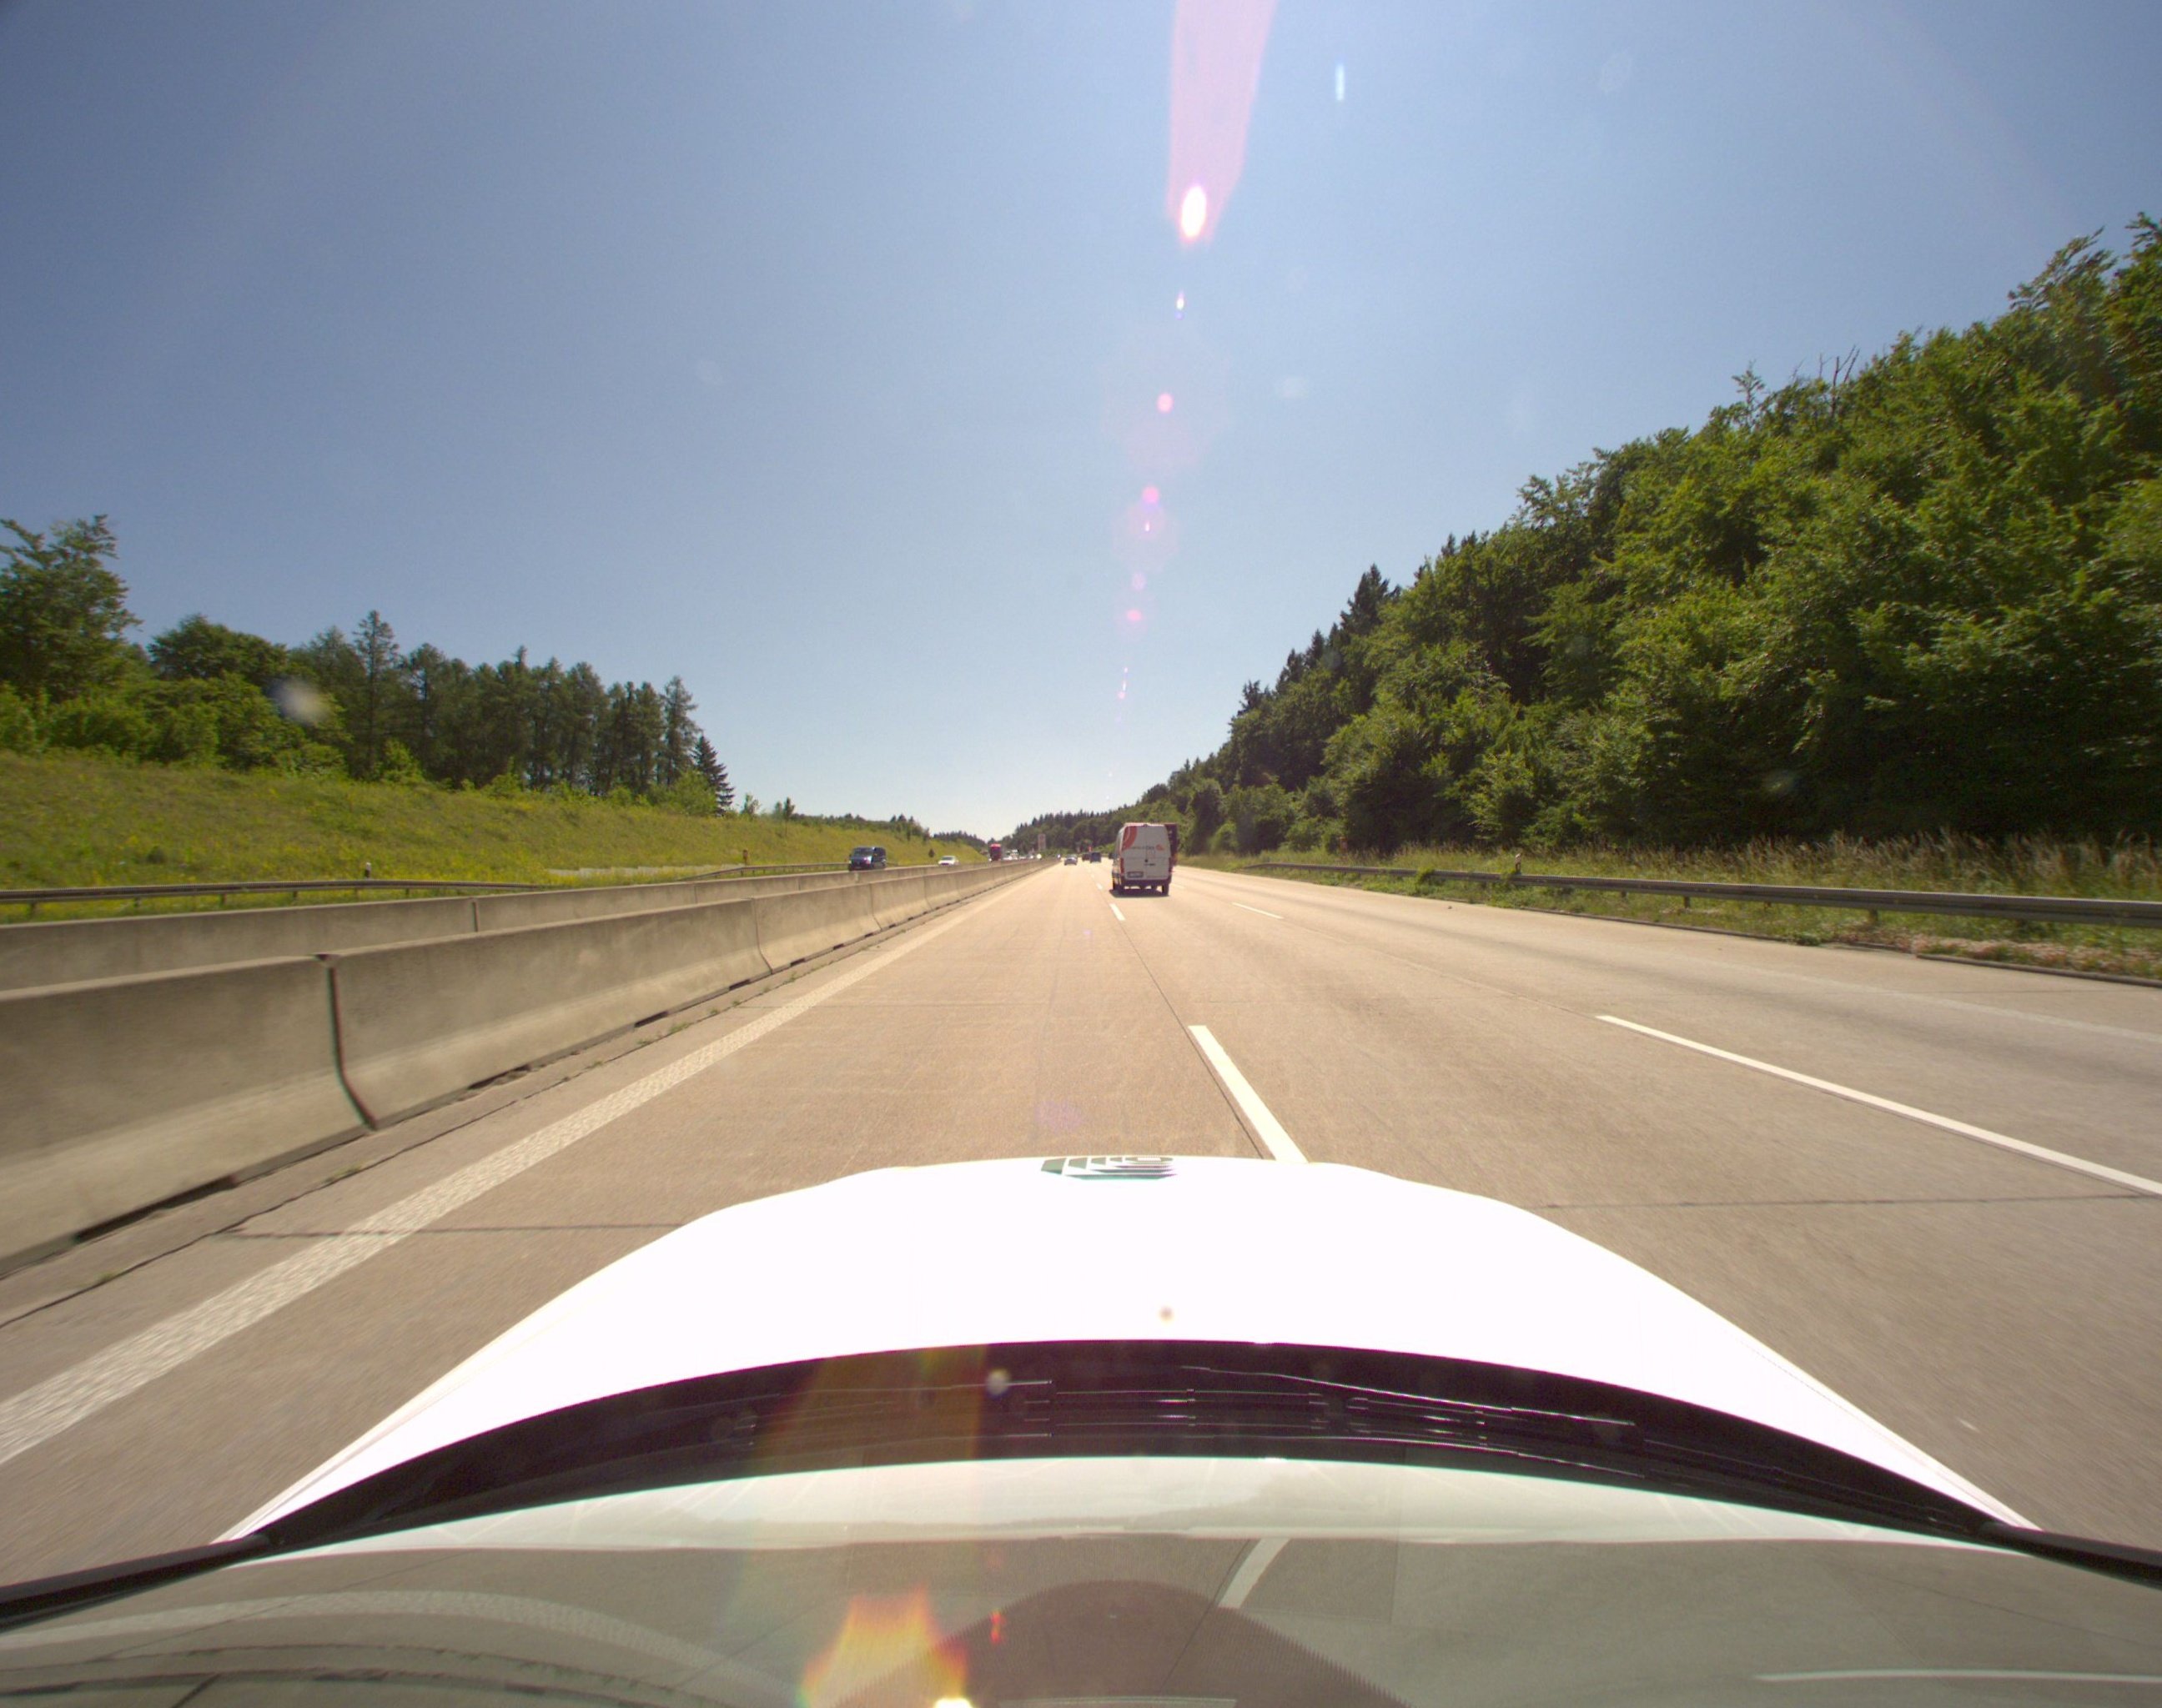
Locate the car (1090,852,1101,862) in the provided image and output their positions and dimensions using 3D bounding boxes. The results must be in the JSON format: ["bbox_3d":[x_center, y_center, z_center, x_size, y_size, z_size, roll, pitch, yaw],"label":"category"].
[{"bbox_3d":[2.489,0.506,139.582,1.987,1.684,4.000,0,-1,1],"label":"car"}]

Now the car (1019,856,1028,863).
[{"bbox_3d":[-14.564,1.486,205.306,1.987,1.692,4.815,-1,0,0],"label":"car"}]

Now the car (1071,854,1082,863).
[{"bbox_3d":[-0.883,0.890,153.997,1.988,1.684,3.998,0,-1,-1],"label":"car"}]

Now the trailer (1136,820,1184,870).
[{"bbox_3d":[6.892,-0.718,72.311,3.125,4.017,9.085,-2,0,0],"label":"trailer"}]

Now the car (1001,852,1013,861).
[{"bbox_3d":[-14.315,0.498,157.152,1.987,1.564,3.999,0,0,0],"label":"car"}]

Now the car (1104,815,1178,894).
[{"bbox_3d":[2.298,-0.014,32.797,2.221,2.844,5.448,-2,0,-3],"label":"car"}]

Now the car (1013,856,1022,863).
[{"bbox_3d":[-16.323,1.394,208.459,1.987,1.558,4.498,-1,0,0],"label":"car"}]

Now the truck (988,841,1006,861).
[{"bbox_3d":[-18.387,-0.619,178.717,3.376,4.431,6.799,0,-1,0],"label":"truck"}]

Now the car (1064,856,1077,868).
[{"bbox_3d":[-1.537,1.119,119.377,1.988,1.684,3.998,0,-1,-1],"label":"car"}]

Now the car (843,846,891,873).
[{"bbox_3d":[-18.529,0.456,70.861,2.473,2.210,6.458,0,0,0],"label":"car"}]

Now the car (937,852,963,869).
[{"bbox_3d":[-14.310,0.675,89.029,2.002,1.807,4.853,0,0,0],"label":"car"}]
